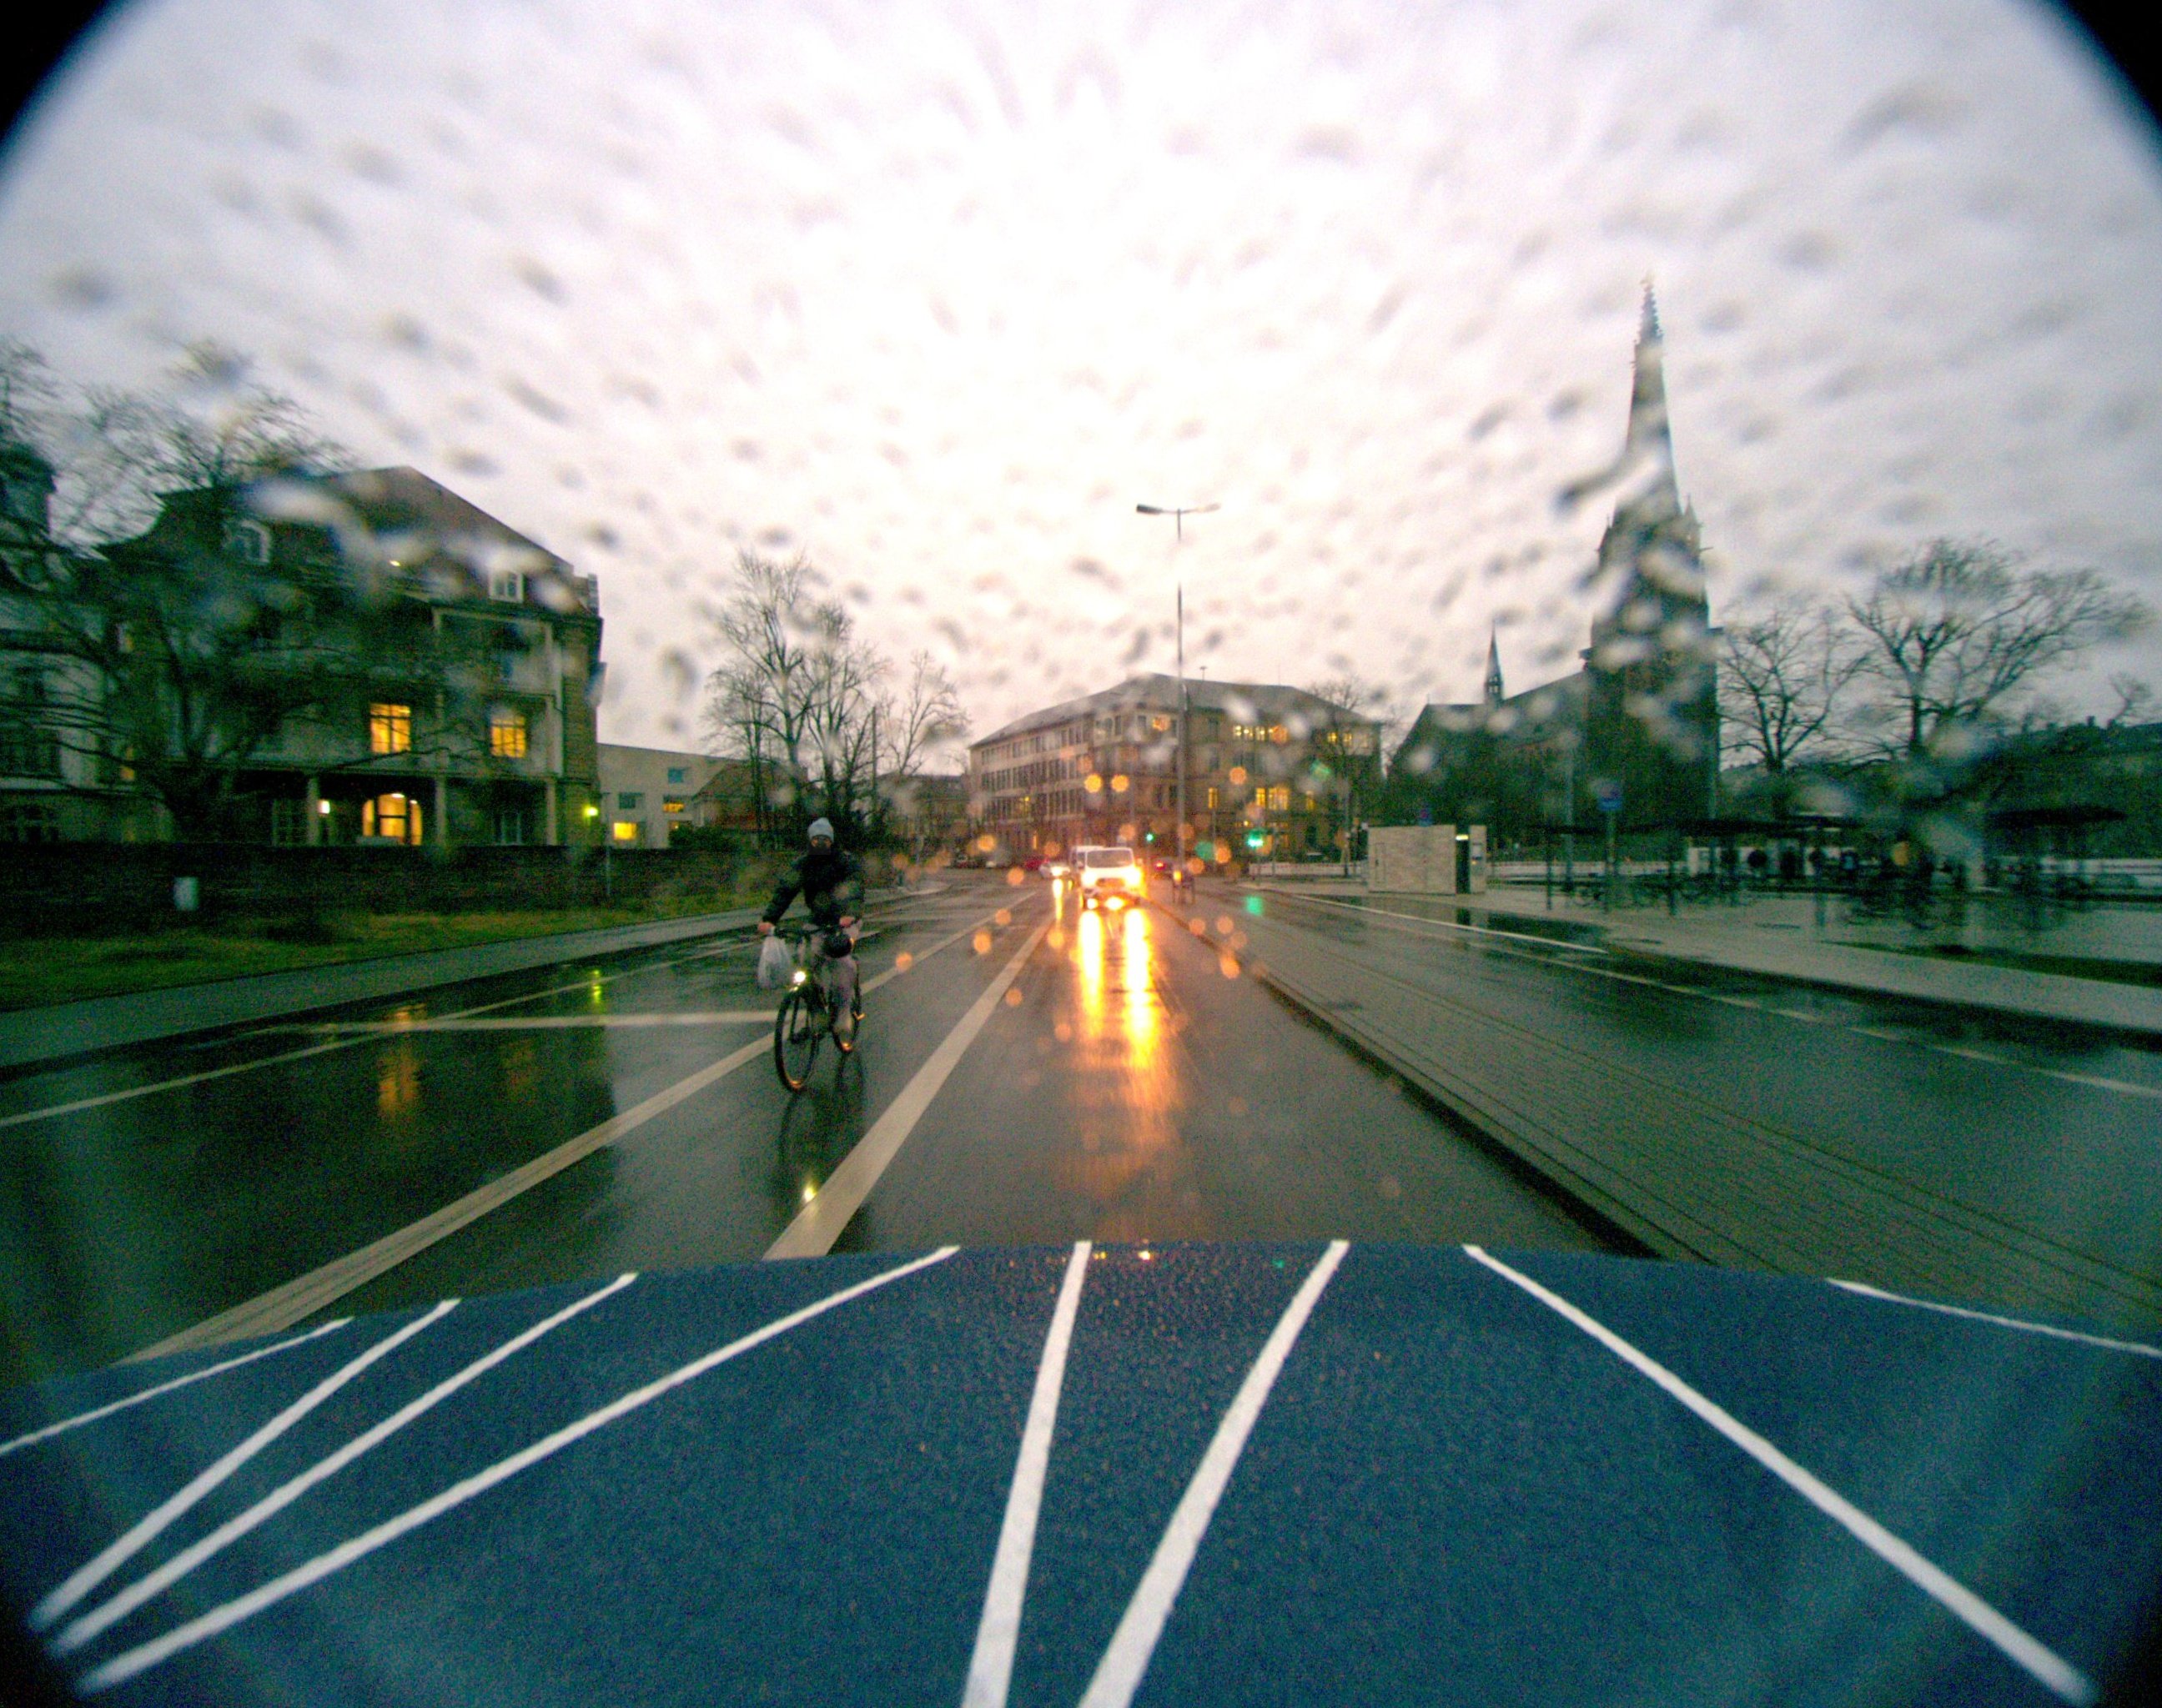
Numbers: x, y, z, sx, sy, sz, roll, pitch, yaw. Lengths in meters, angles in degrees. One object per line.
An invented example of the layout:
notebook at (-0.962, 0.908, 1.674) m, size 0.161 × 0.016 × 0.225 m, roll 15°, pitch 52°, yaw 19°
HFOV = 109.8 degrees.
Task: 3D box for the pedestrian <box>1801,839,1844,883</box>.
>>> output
pedestrian at (31.638, 0.296, 32.426) m, size 1.034 × 1.839 × 0.802 m, roll 0°, pitch 1°, yaw 1°

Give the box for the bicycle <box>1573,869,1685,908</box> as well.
bicycle at (16.870, 1.036, 23.495) m, size 0.648 × 1.098 × 2.745 m, roll -3°, pitch 0°, yaw -30°

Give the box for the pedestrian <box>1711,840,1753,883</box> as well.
pedestrian at (29.806, 0.347, 34.798) m, size 1.049 × 1.839 × 0.848 m, roll -5°, pitch 0°, yaw 1°

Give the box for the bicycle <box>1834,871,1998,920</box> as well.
bicycle at (20.964, 1.012, 19.156) m, size 0.648 × 1.098 × 2.743 m, roll -3°, pitch 2°, yaw -39°

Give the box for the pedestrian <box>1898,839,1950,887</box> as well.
pedestrian at (33.159, 0.353, 29.908) m, size 1.034 × 1.839 × 0.848 m, roll -3°, pitch 0°, yaw 1°

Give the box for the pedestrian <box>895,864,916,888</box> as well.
pedestrian at (-9.857, 1.235, 42.637) m, size 0.984 × 1.309 × 0.813 m, roll 0°, pitch 1°, yaw -29°

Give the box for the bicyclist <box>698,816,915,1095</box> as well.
bicyclist at (-1.999, 0.671, 5.754) m, size 1.025 × 1.872 × 1.236 m, roll 0°, pitch 2°, yaw 9°

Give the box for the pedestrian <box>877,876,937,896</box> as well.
pedestrian at (-9.751, 1.788, 42.663) m, size 3.104 × 0.925 × 0.946 m, roll -3°, pitch 0°, yaw -29°

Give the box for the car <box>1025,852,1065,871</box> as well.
car at (-4.027, 0.790, 84.489) m, size 2.146 × 1.999 × 4.558 m, roll 0°, pitch 0°, yaw -39°

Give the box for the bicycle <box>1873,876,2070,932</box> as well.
bicycle at (19.629, 1.061, 16.863) m, size 0.648 × 1.098 × 2.745 m, roll -3°, pitch 0°, yaw -30°

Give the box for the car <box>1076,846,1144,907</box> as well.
car at (0.993, 0.745, 27.460) m, size 2.136 × 1.910 × 5.017 m, roll -2°, pitch 0°, yaw 1°

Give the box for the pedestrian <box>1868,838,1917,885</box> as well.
pedestrian at (33.090, 0.295, 30.987) m, size 1.034 × 1.839 × 0.848 m, roll -3°, pitch 0°, yaw 1°

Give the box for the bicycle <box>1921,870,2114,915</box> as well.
bicycle at (24.852, 0.970, 20.278) m, size 0.796 × 1.043 × 3.186 m, roll -1°, pitch 0°, yaw -35°

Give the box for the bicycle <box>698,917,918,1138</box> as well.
bicycle at (-1.972, 1.199, 5.861) m, size 0.794 × 1.216 × 1.904 m, roll -1°, pitch 2°, yaw 6°

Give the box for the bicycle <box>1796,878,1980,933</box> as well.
bicycle at (18.086, 1.119, 17.136) m, size 0.648 × 1.098 × 2.745 m, roll -3°, pitch 0°, yaw -30°

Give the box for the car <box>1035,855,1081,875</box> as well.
car at (-1.926, 0.915, 61.587) m, size 1.792 × 1.536 × 4.109 m, roll -2°, pitch -1°, yaw -33°

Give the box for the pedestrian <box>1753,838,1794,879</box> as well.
pedestrian at (31.232, 0.199, 34.281) m, size 1.034 × 1.839 × 0.848 m, roll 0°, pitch 0°, yaw 1°

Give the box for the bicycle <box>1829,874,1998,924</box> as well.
bicycle at (20.360, 1.078, 18.660) m, size 0.648 × 1.098 × 2.744 m, roll -3°, pitch 0°, yaw -40°

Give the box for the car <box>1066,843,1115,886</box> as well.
car at (0.533, 0.640, 48.725) m, size 2.347 × 2.503 × 5.864 m, roll -3°, pitch 0°, yaw -6°

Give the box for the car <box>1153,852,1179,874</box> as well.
car at (6.371, 0.634, 57.094) m, size 1.677 × 1.585 × 4.001 m, roll -1°, pitch 0°, yaw 3°

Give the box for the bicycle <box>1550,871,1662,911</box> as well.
bicycle at (15.798, 1.087, 22.967) m, size 0.648 × 1.098 × 2.745 m, roll -3°, pitch 0°, yaw -30°

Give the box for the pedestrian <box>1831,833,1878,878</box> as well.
pedestrian at (32.819, 0.079, 32.253) m, size 1.034 × 1.839 × 0.848 m, roll -3°, pitch 0°, yaw 1°

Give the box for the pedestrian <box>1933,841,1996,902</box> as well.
pedestrian at (25.865, 0.498, 22.253) m, size 0.815 × 1.672 × 0.848 m, roll -4°, pitch 3°, yaw 1°

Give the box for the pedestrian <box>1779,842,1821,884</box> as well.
pedestrian at (31.574, 0.391, 33.376) m, size 1.034 × 1.839 × 0.848 m, roll 0°, pitch 0°, yaw 1°

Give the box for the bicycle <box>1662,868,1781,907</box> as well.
bicycle at (19.853, 1.023, 23.634) m, size 0.648 × 1.098 × 2.745 m, roll -3°, pitch 0°, yaw -30°

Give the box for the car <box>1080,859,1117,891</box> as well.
car at (0.883, 1.063, 40.447) m, size 1.754 × 1.495 × 4.316 m, roll -3°, pitch 0°, yaw -1°

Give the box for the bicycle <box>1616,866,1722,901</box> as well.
bicycle at (19.914, 0.993, 25.811) m, size 0.648 × 1.098 × 2.744 m, roll -3°, pitch 0°, yaw -33°
